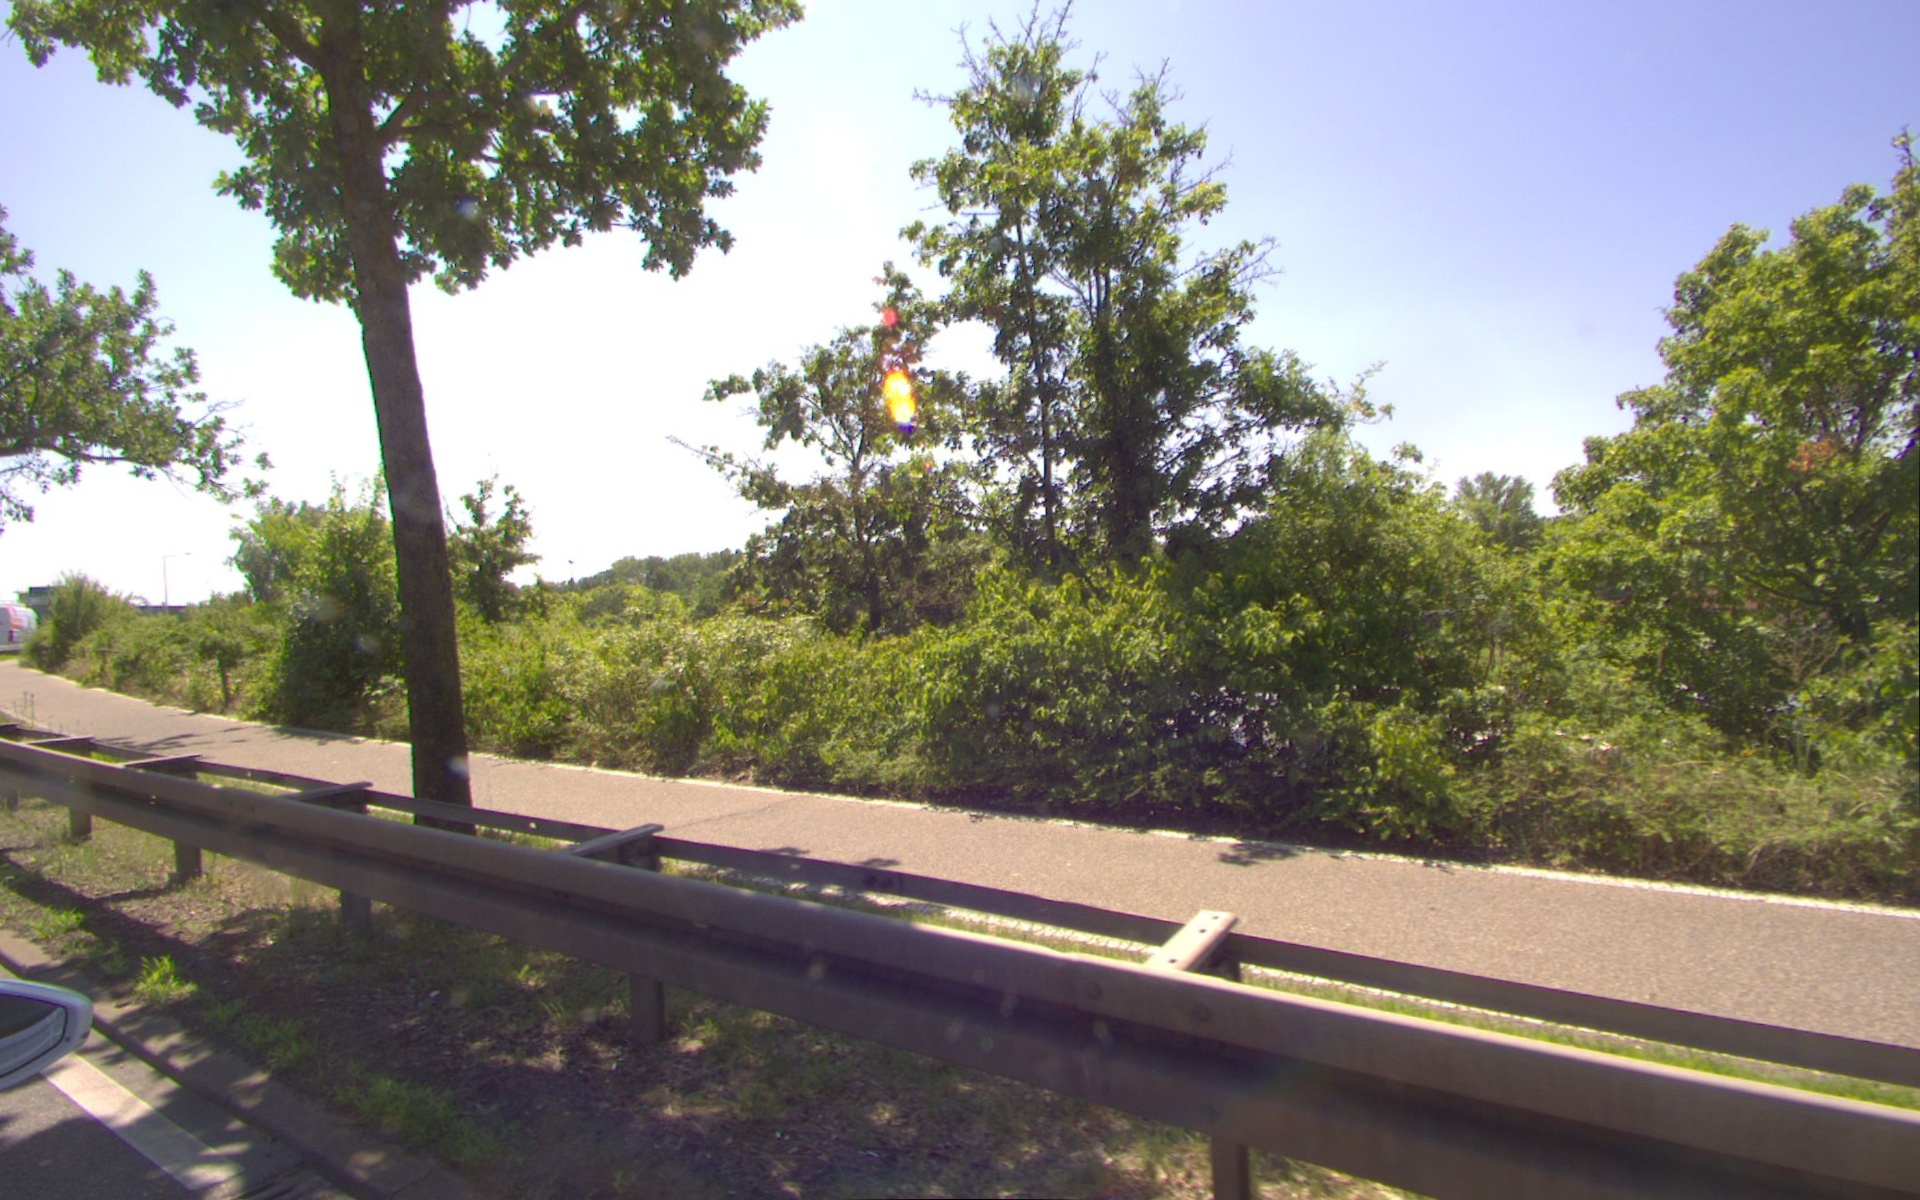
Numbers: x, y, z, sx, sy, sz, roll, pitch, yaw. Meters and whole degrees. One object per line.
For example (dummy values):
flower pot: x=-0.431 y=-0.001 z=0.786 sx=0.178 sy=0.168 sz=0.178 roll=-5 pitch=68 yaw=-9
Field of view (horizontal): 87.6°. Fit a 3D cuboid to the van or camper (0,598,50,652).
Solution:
van or camper: x=-50.643 y=1.312 z=53.262 sx=2.179 sy=2.746 sz=5.893 roll=0 pitch=-1 yaw=-31
